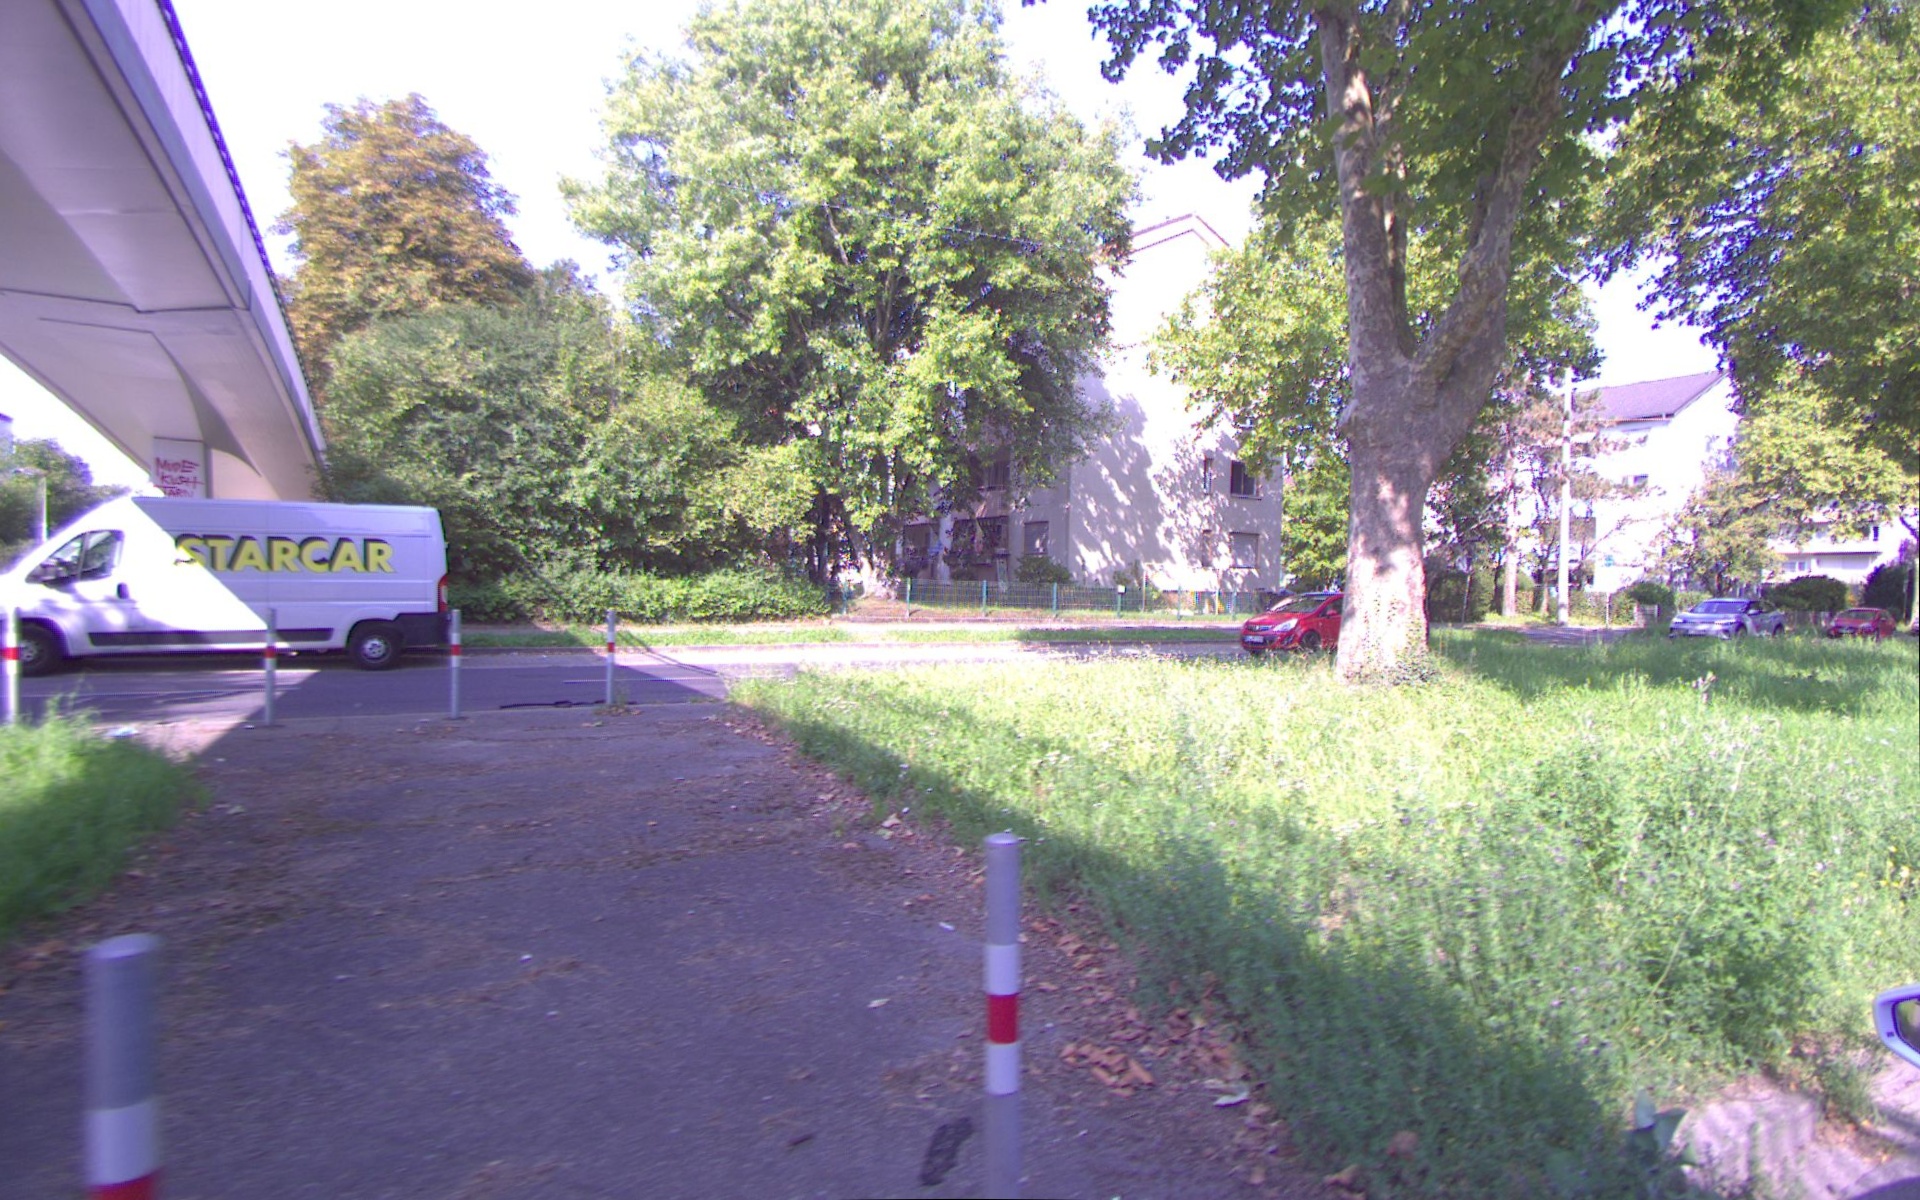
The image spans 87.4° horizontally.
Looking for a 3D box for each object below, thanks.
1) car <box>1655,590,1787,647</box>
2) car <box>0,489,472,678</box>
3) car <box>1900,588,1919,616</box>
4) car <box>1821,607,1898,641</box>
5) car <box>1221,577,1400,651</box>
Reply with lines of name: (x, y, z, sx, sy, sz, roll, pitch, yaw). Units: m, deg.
car: (24.780, 0.556, 32.687, 4.664, 1.743, 1.793, 0, 1, -31)
car: (-10.859, -0.260, 15.206, 6.187, 2.463, 2.198, 1, 4, -29)
car: (51.566, 0.117, 52.987, 4.016, 1.449, 1.793, 0, 2, -31)
car: (42.098, 1.107, 46.989, 4.017, 1.471, 1.531, 1, 2, -31)
car: (7.988, 0.276, 22.821, 4.024, 1.553, 1.681, 0, 1, -32)
